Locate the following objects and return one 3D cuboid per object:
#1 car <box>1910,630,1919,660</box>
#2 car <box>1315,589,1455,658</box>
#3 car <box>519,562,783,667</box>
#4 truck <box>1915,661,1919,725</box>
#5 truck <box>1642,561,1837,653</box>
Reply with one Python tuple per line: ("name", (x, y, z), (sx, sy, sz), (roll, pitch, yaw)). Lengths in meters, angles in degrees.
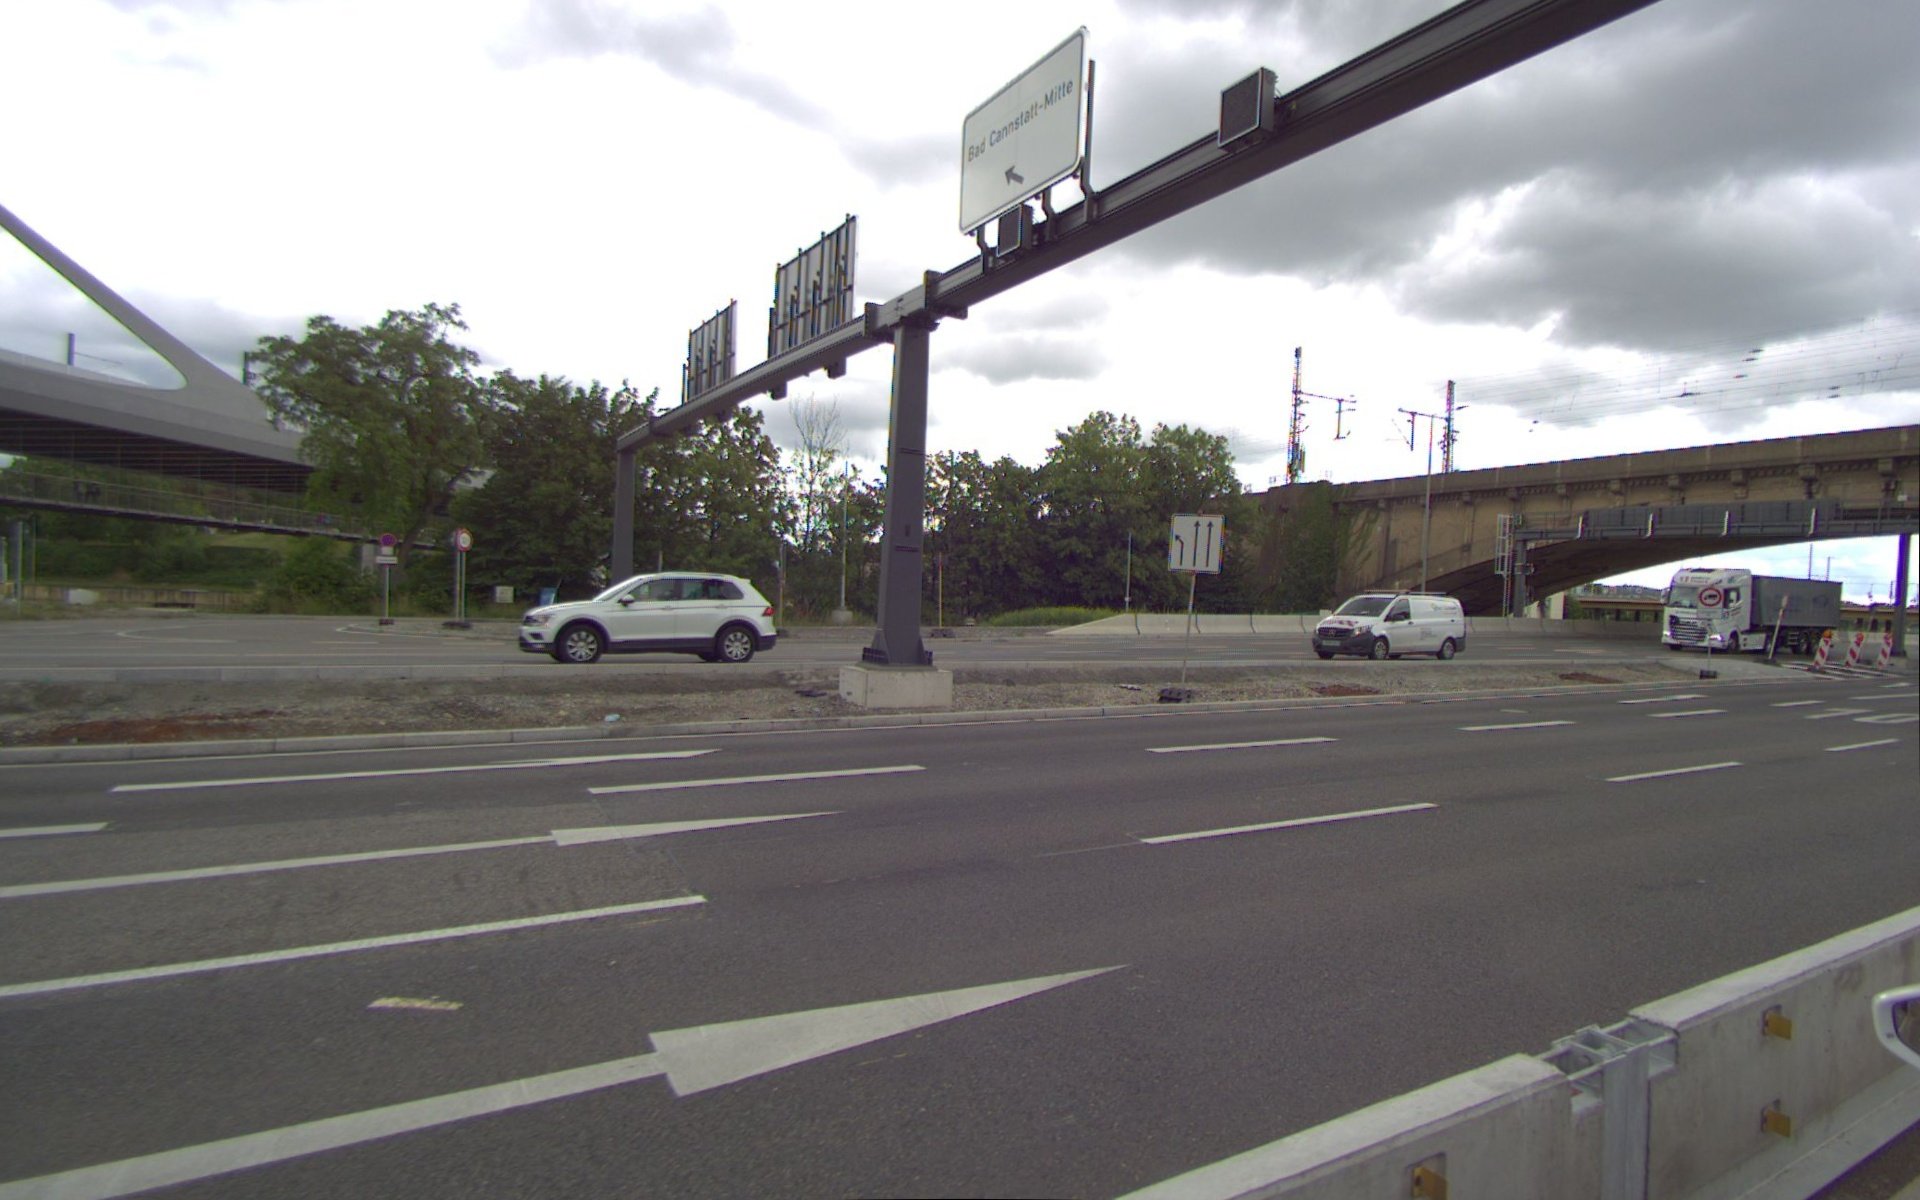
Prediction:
("car", (54.801, 2.537, 56.070), (4.406, 1.641, 1.695), (2, -2, -34))
("car", (12.113, 0.660, 28.619), (3.758, 1.831, 1.816), (1, 1, -32))
("car", (-5.498, 0.297, 18.007), (4.237, 1.684, 1.792), (1, -2, -30))
("truck", (21.086, 0.263, 18.564), (10.099, 4.071, 2.898), (2, 2, -35))
("truck", (38.913, 0.427, 49.855), (13.831, 4.116, 2.883), (1, 1, -32))
